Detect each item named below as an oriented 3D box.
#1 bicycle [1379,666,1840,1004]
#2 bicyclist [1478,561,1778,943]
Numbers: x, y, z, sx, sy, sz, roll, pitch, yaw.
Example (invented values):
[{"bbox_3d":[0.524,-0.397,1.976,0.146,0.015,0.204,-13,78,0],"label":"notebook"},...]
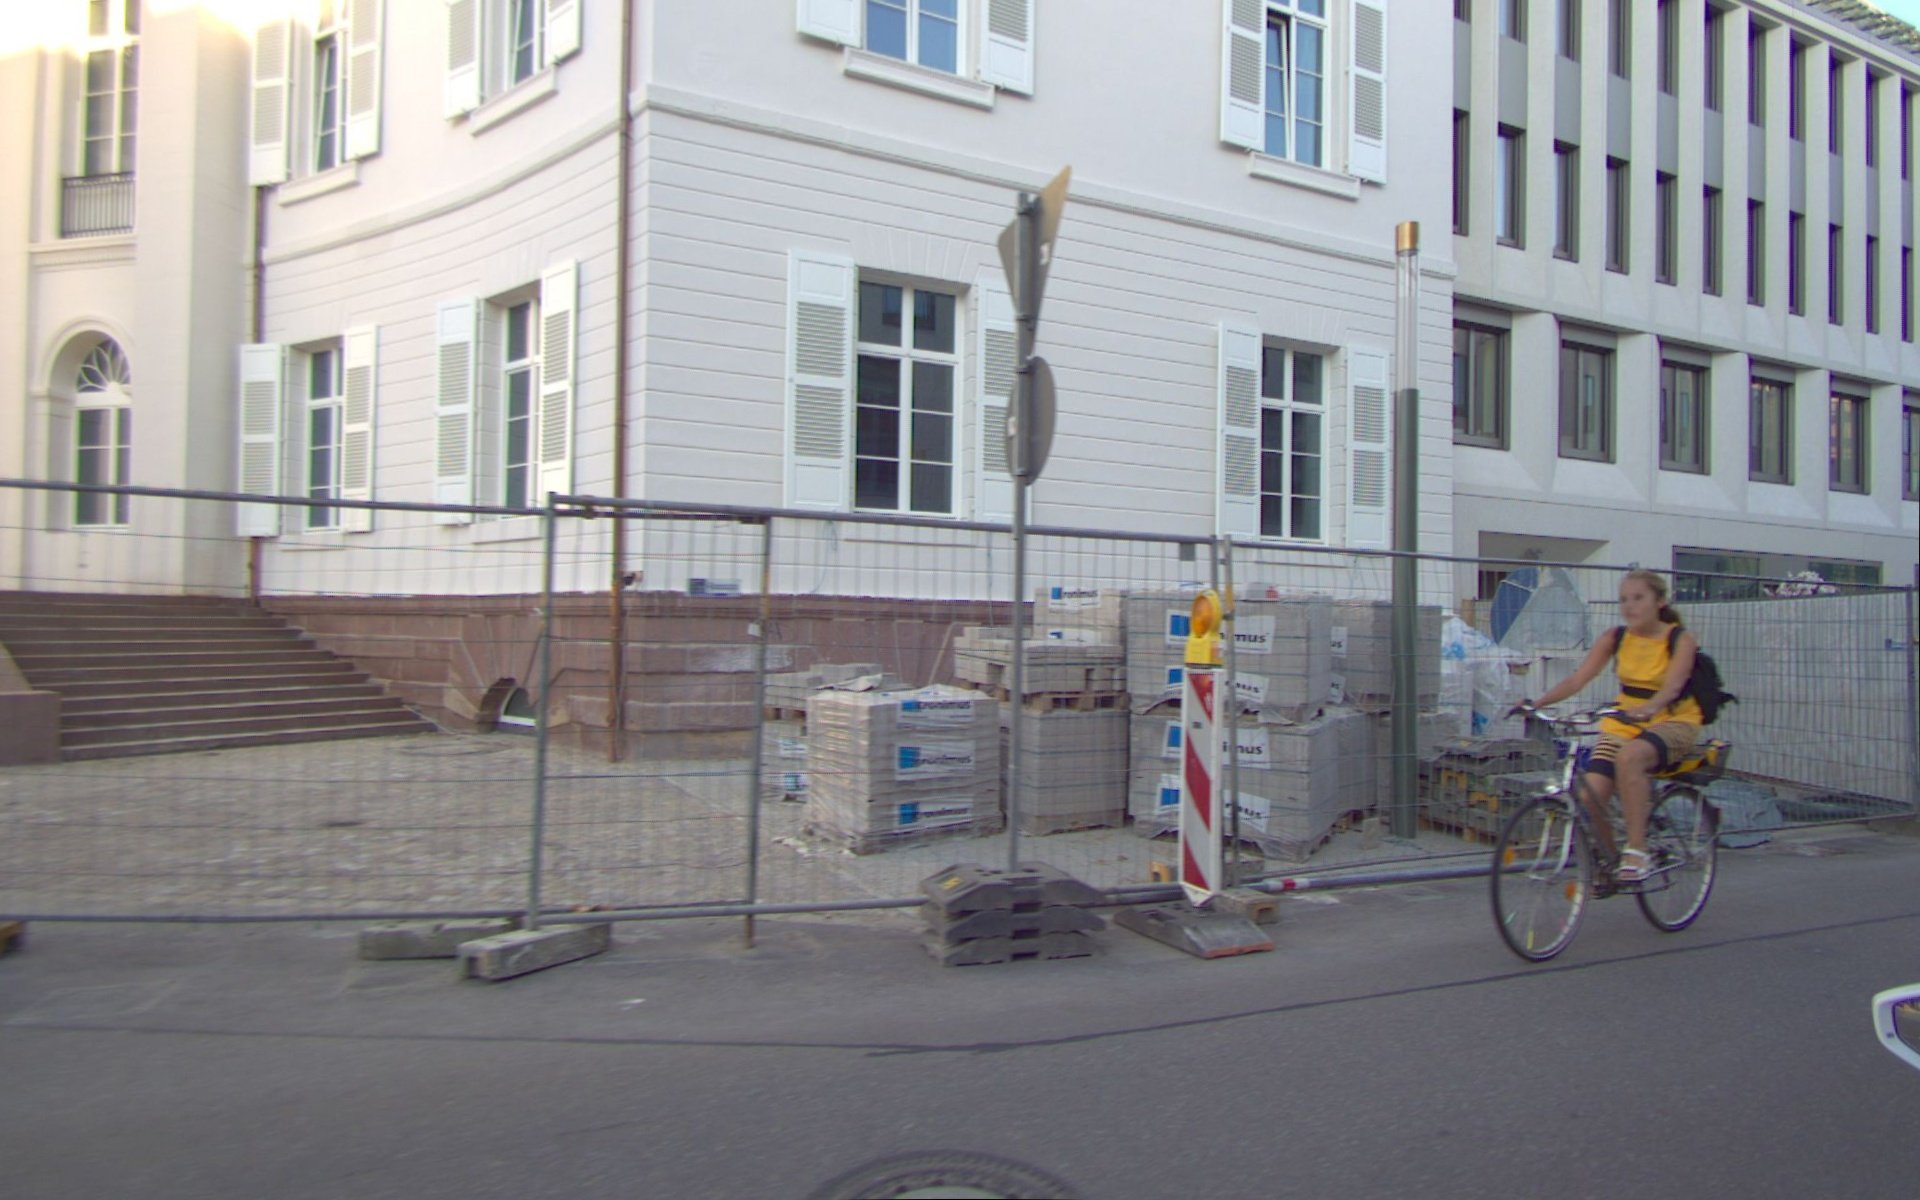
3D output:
[{"bbox_3d":[3.045,0.947,4.662,2.204,1.233,0.793,2,-1,-27],"label":"bicycle"},{"bbox_3d":[3.083,0.636,4.665,0.961,1.552,0.793,1,-1,-26],"label":"bicyclist"}]
